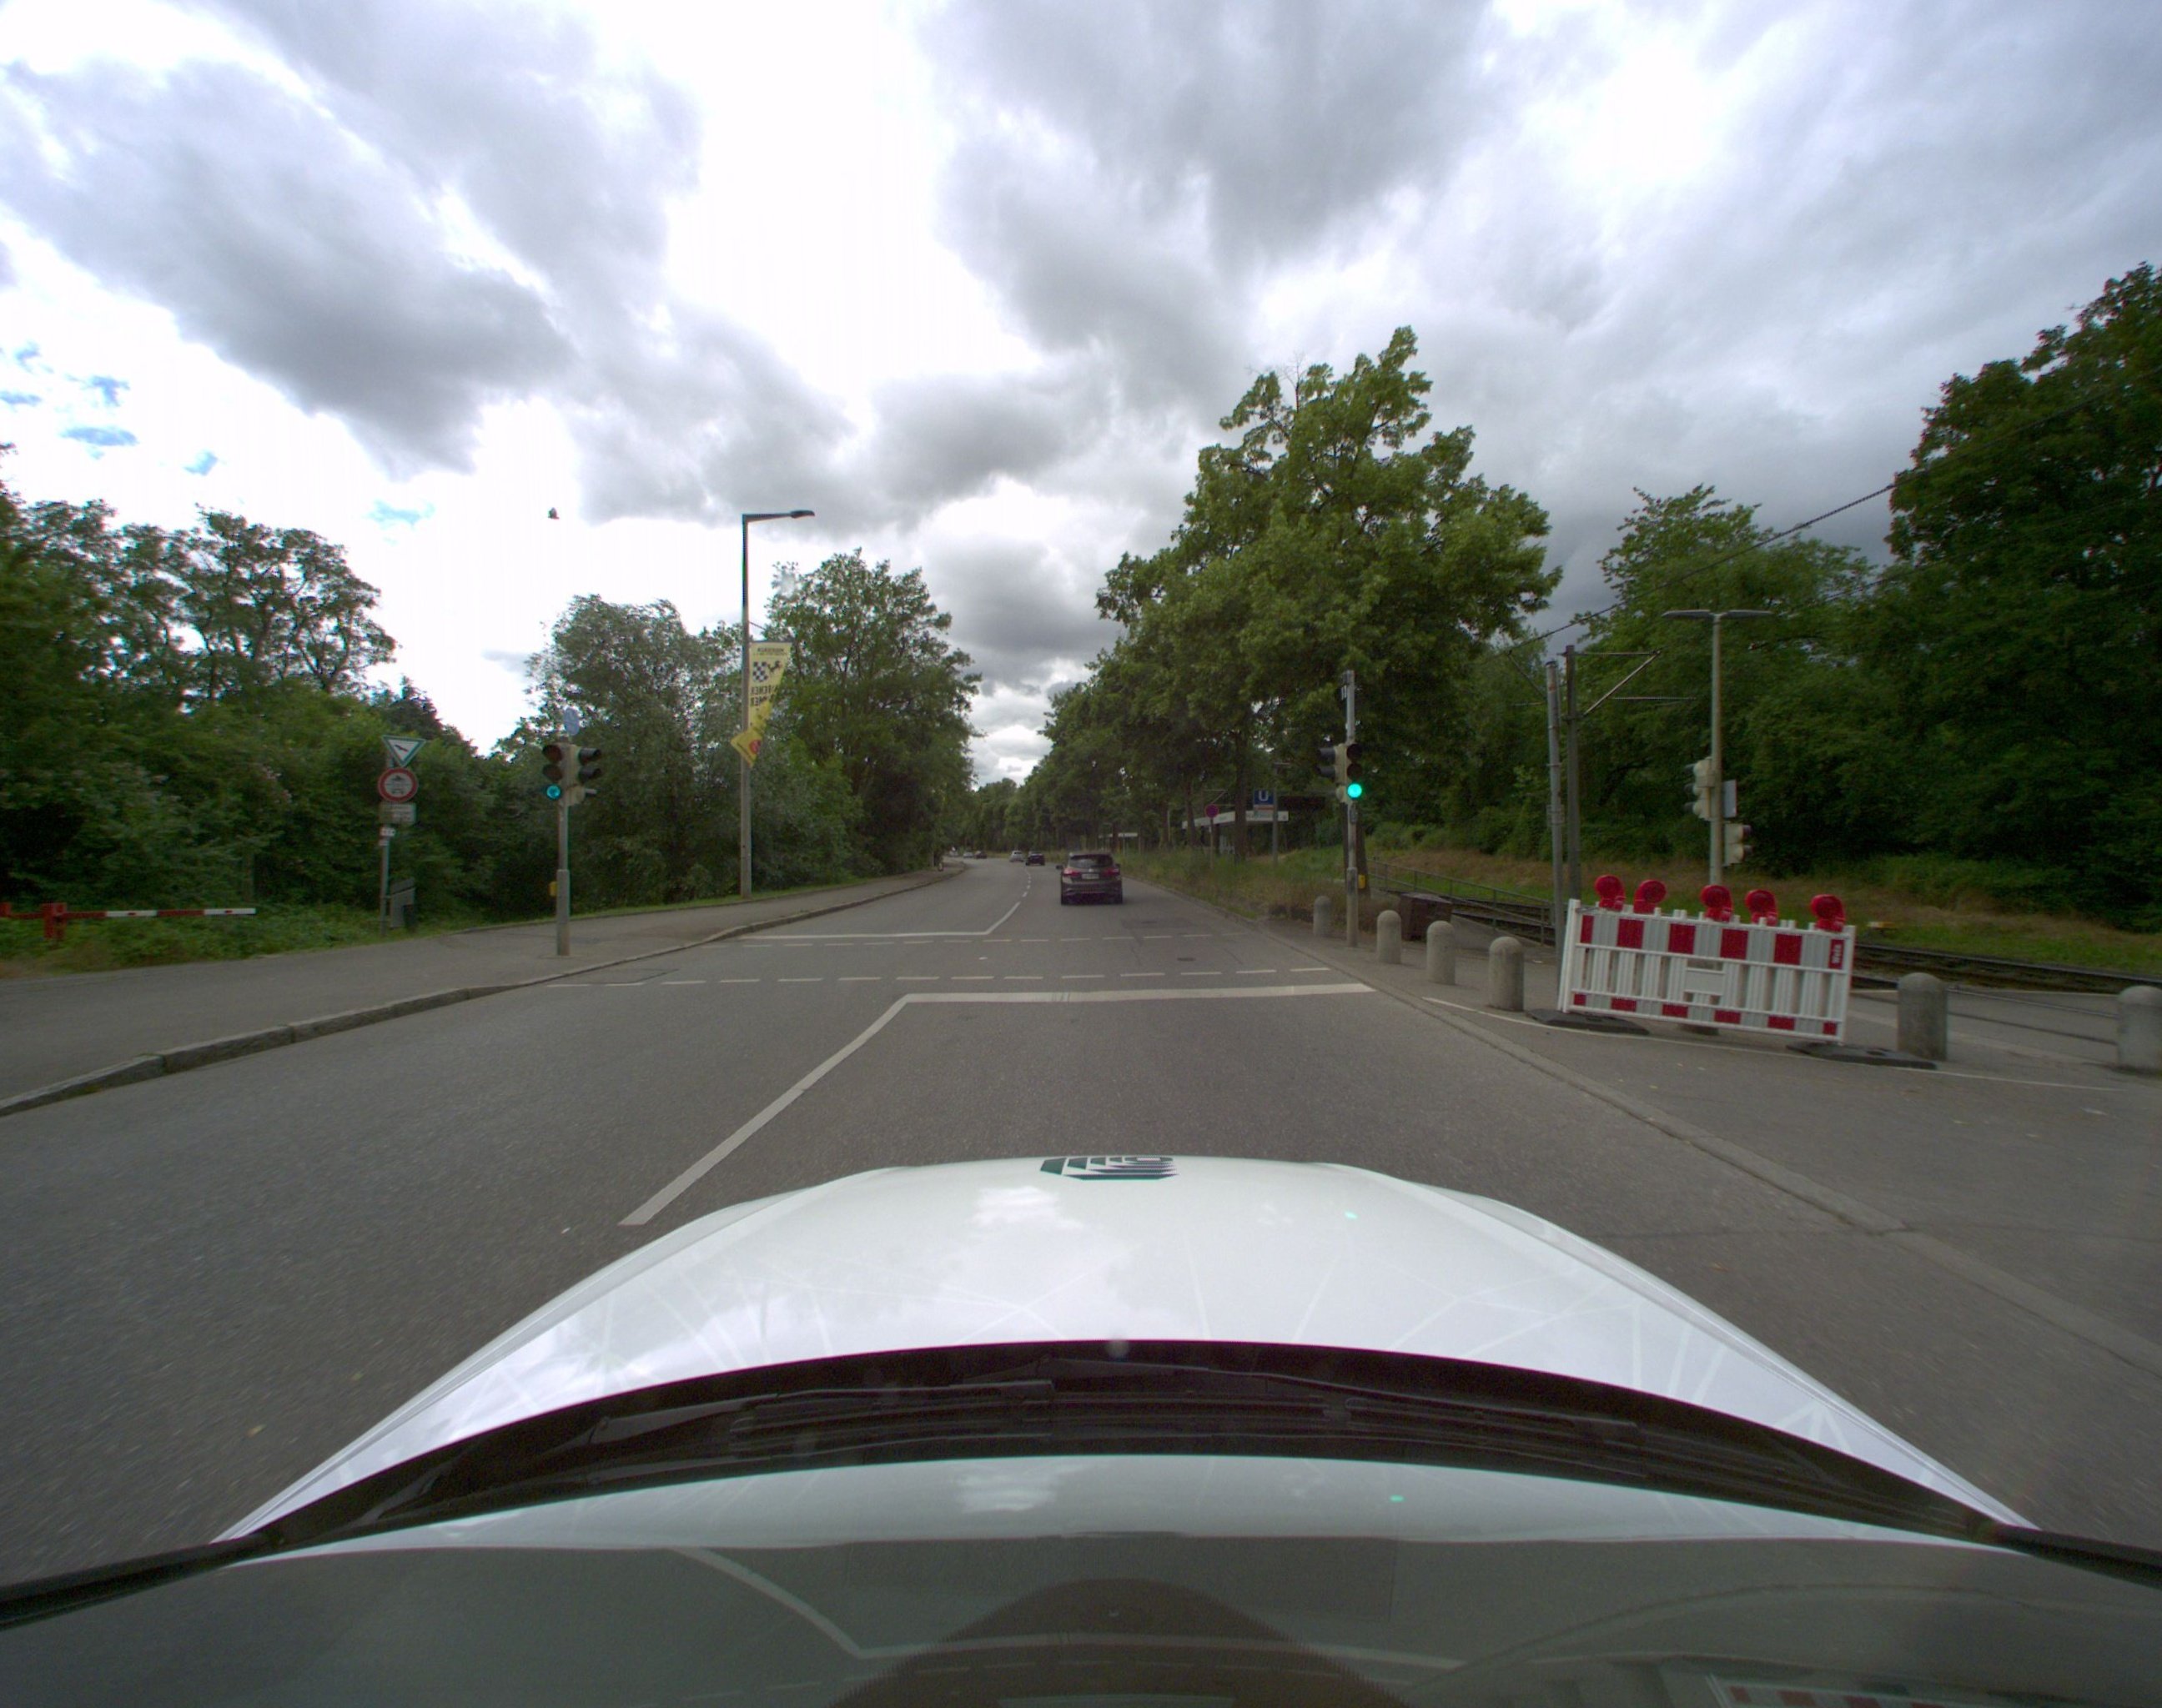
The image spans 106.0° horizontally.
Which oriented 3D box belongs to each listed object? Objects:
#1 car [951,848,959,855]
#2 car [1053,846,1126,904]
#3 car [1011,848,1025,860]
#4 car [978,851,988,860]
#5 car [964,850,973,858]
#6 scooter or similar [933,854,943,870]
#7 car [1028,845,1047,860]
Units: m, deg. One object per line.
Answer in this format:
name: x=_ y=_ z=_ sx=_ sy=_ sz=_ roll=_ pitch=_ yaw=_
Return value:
car: x=-28.304 y=-0.550 z=182.860 sx=1.775 sy=1.472 sz=3.989 roll=1 pitch=1 yaw=-8
car: x=0.163 y=0.551 z=24.448 sx=1.813 sy=1.508 sz=3.994 roll=-1 pitch=1 yaw=-5
car: x=-8.437 y=-0.019 z=108.831 sx=1.772 sy=1.472 sz=3.995 roll=1 pitch=1 yaw=-4
car: x=-17.711 y=0.310 z=146.938 sx=1.775 sy=1.472 sz=3.989 roll=3 pitch=0 yaw=-8
car: x=-22.461 y=0.001 z=162.497 sx=1.775 sy=1.472 sz=3.989 roll=0 pitch=1 yaw=-8
scooter or similar: x=-10.675 y=0.592 z=60.739 sx=0.366 sy=1.184 sz=1.287 roll=1 pitch=0 yaw=-25
car: x=-4.384 y=-0.167 z=82.904 sx=1.771 sy=1.472 sz=3.998 roll=2 pitch=1 yaw=-1
